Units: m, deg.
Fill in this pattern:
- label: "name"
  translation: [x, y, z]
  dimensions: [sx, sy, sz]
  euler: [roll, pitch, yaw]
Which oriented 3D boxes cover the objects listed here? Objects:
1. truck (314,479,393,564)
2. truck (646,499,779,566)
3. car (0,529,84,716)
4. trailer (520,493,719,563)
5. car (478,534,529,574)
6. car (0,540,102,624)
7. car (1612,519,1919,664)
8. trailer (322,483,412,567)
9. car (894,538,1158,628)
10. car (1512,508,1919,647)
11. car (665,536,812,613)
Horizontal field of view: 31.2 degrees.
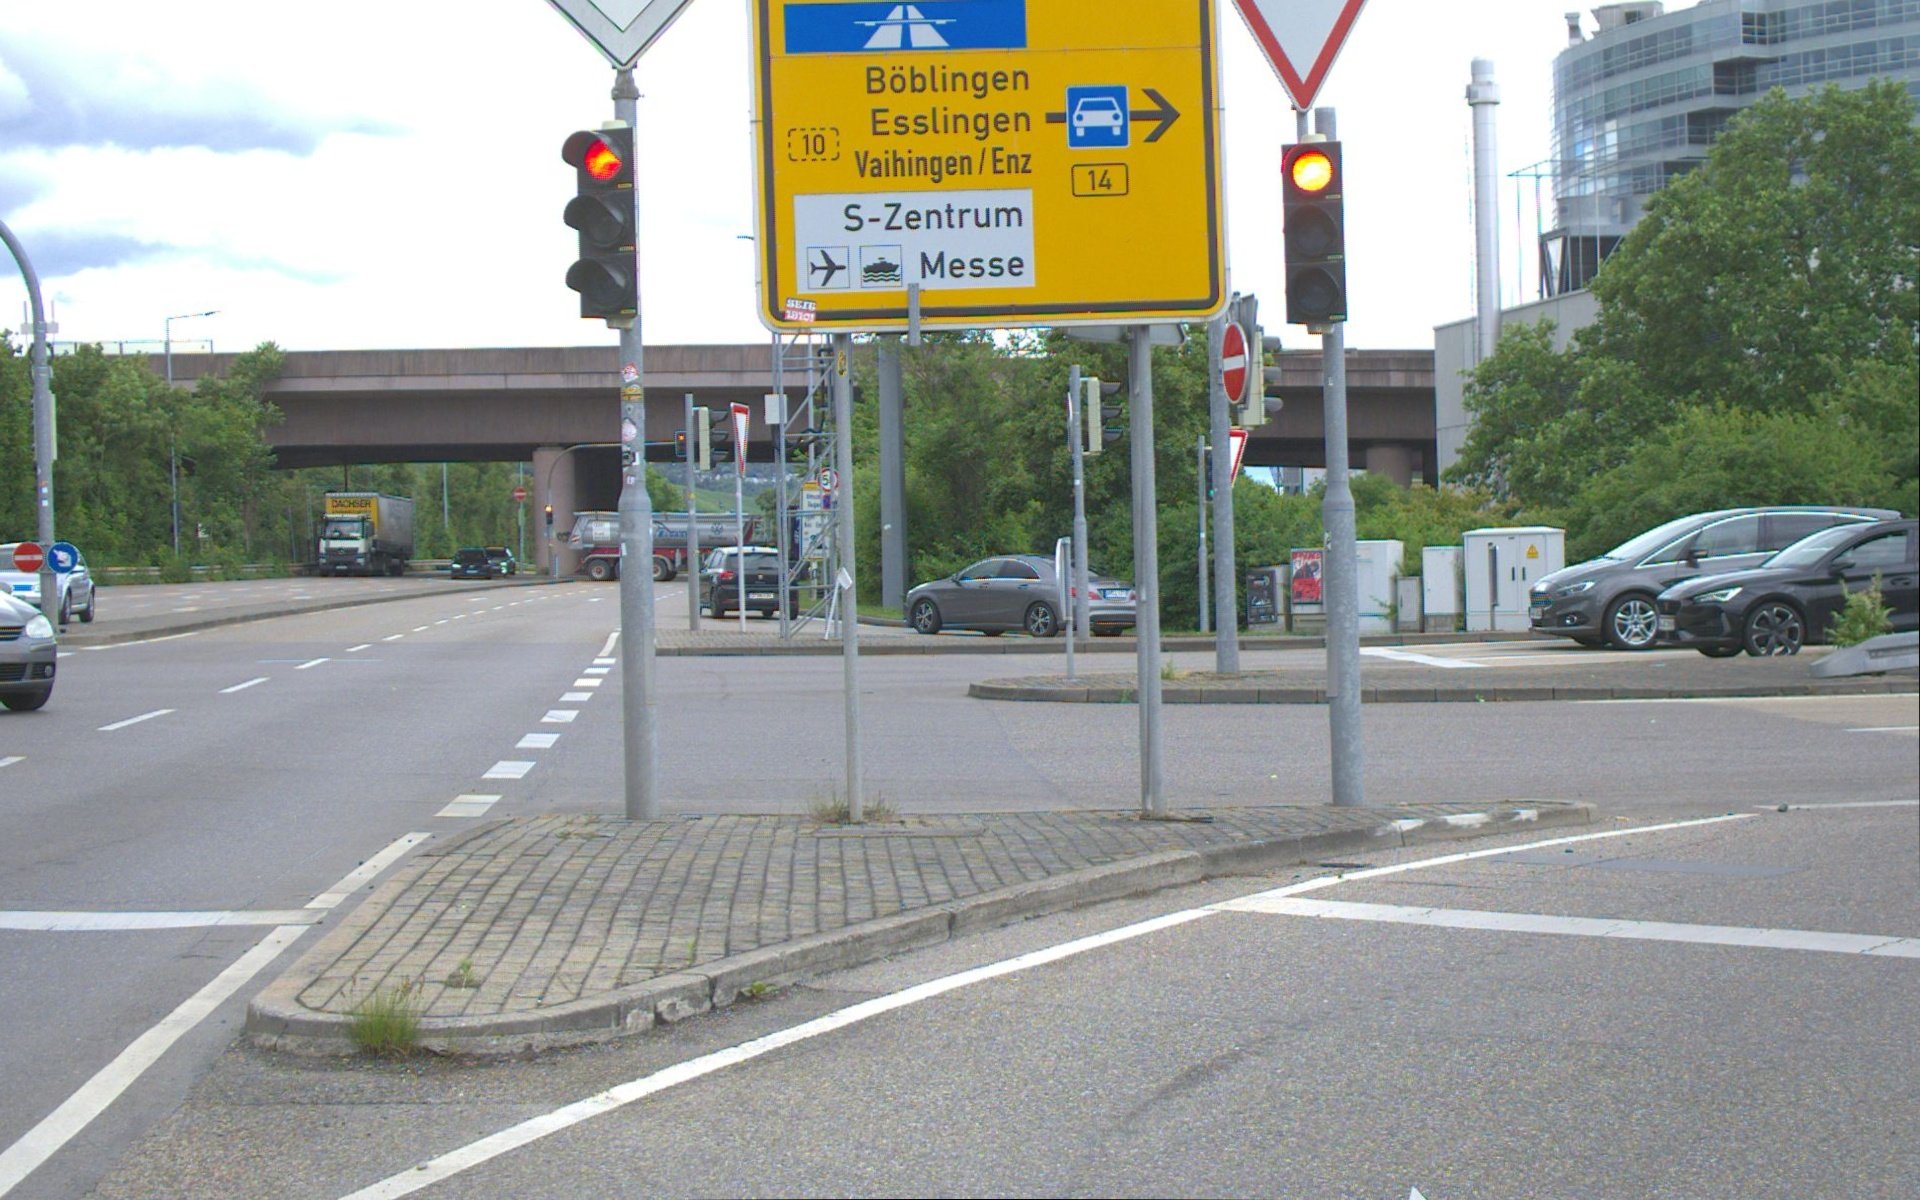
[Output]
- label: "truck"
  translation: [-29.898, -3.890, 169.690]
  dimensions: [2.871, 4.070, 6.488]
  euler: [2, 2, -2]
- label: "truck"
  translation: [-11.133, -3.031, 154.650]
  dimensions: [5.760, 2.615, 2.621]
  euler: [3, 1, -4]
- label: "car"
  translation: [-9.043, 0.122, 28.391]
  dimensions: [1.725, 1.456, 4.242]
  euler: [0, 2, -42]
- label: "trailer"
  translation: [-15.248, -3.240, 154.395]
  dimensions: [8.541, 2.615, 2.610]
  euler: [3, 1, -1]
- label: "car"
  translation: [-23.270, -2.373, 175.266]
  dimensions: [1.993, 1.853, 4.000]
  euler: [3, 2, 0]
- label: "car"
  translation: [-16.405, -0.342, 60.884]
  dimensions: [1.724, 1.396, 4.067]
  euler: [-1, 2, -5]
- label: "car"
  translation: [9.529, -0.121, 36.820]
  dimensions: [4.604, 1.452, 1.956]
  euler: [0, 2, -8]
- label: "trailer"
  translation: [-30.098, -3.872, 175.038]
  dimensions: [2.871, 4.070, 11.428]
  euler: [2, 2, -2]
- label: "car"
  translation: [1.077, -0.268, 57.471]
  dimensions: [4.107, 1.437, 1.995]
  euler: [0, -1, 42]
- label: "car"
  translation: [9.104, -0.294, 40.852]
  dimensions: [4.677, 1.566, 1.956]
  euler: [0, 2, -6]
- label: "car"
  translation: [-4.515, -0.484, 69.463]
  dimensions: [1.993, 1.459, 4.111]
  euler: [1, -1, -18]
